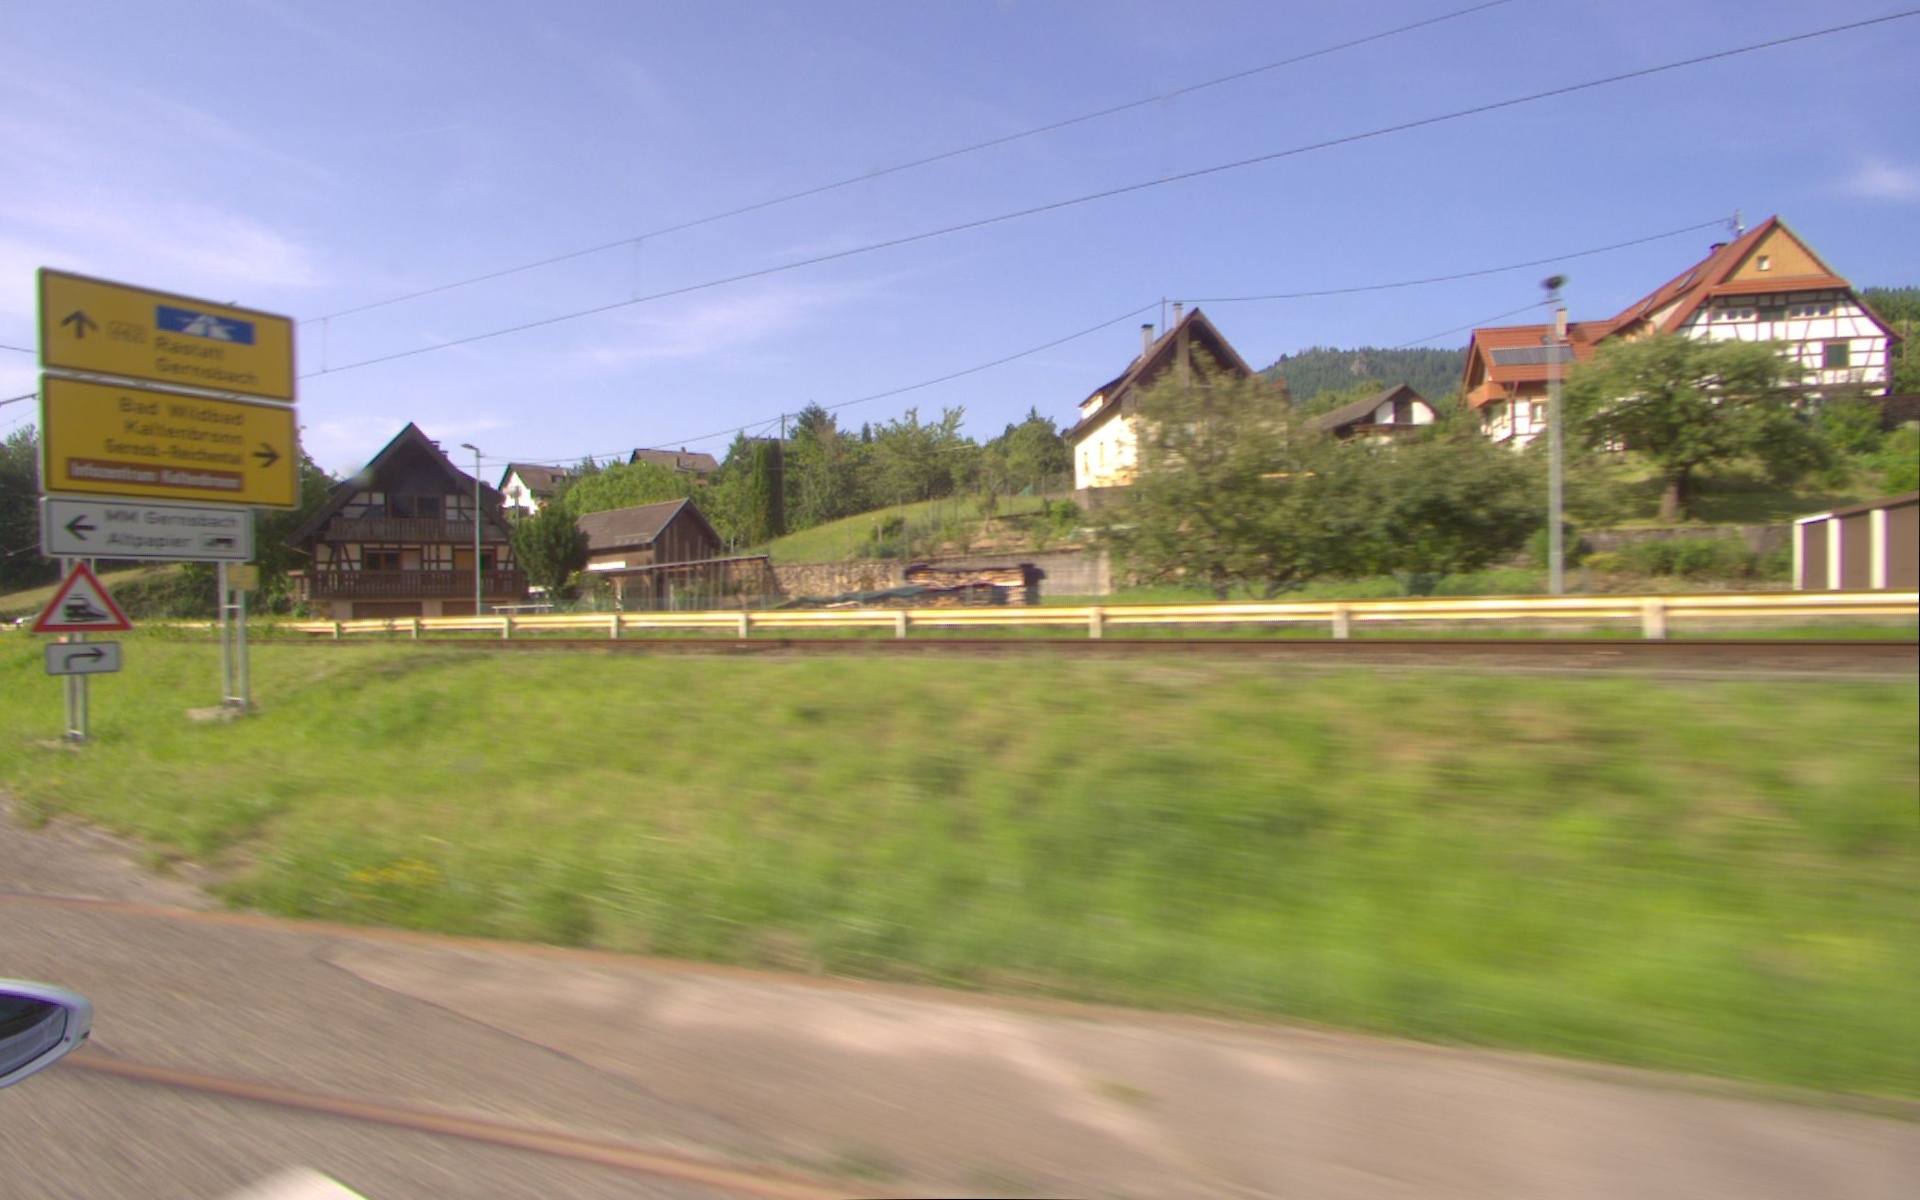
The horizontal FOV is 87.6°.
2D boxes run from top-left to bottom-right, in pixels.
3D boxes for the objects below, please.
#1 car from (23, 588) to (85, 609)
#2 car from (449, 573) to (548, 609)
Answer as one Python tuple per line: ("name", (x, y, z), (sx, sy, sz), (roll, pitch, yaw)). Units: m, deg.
("car", (-81.473, -0.145, 90.100), (3.954, 1.907, 1.862), (0, 1, -40))
("car", (-33.224, -0.679, 72.278), (5.918, 2.363, 2.382), (-1, 2, -2))
